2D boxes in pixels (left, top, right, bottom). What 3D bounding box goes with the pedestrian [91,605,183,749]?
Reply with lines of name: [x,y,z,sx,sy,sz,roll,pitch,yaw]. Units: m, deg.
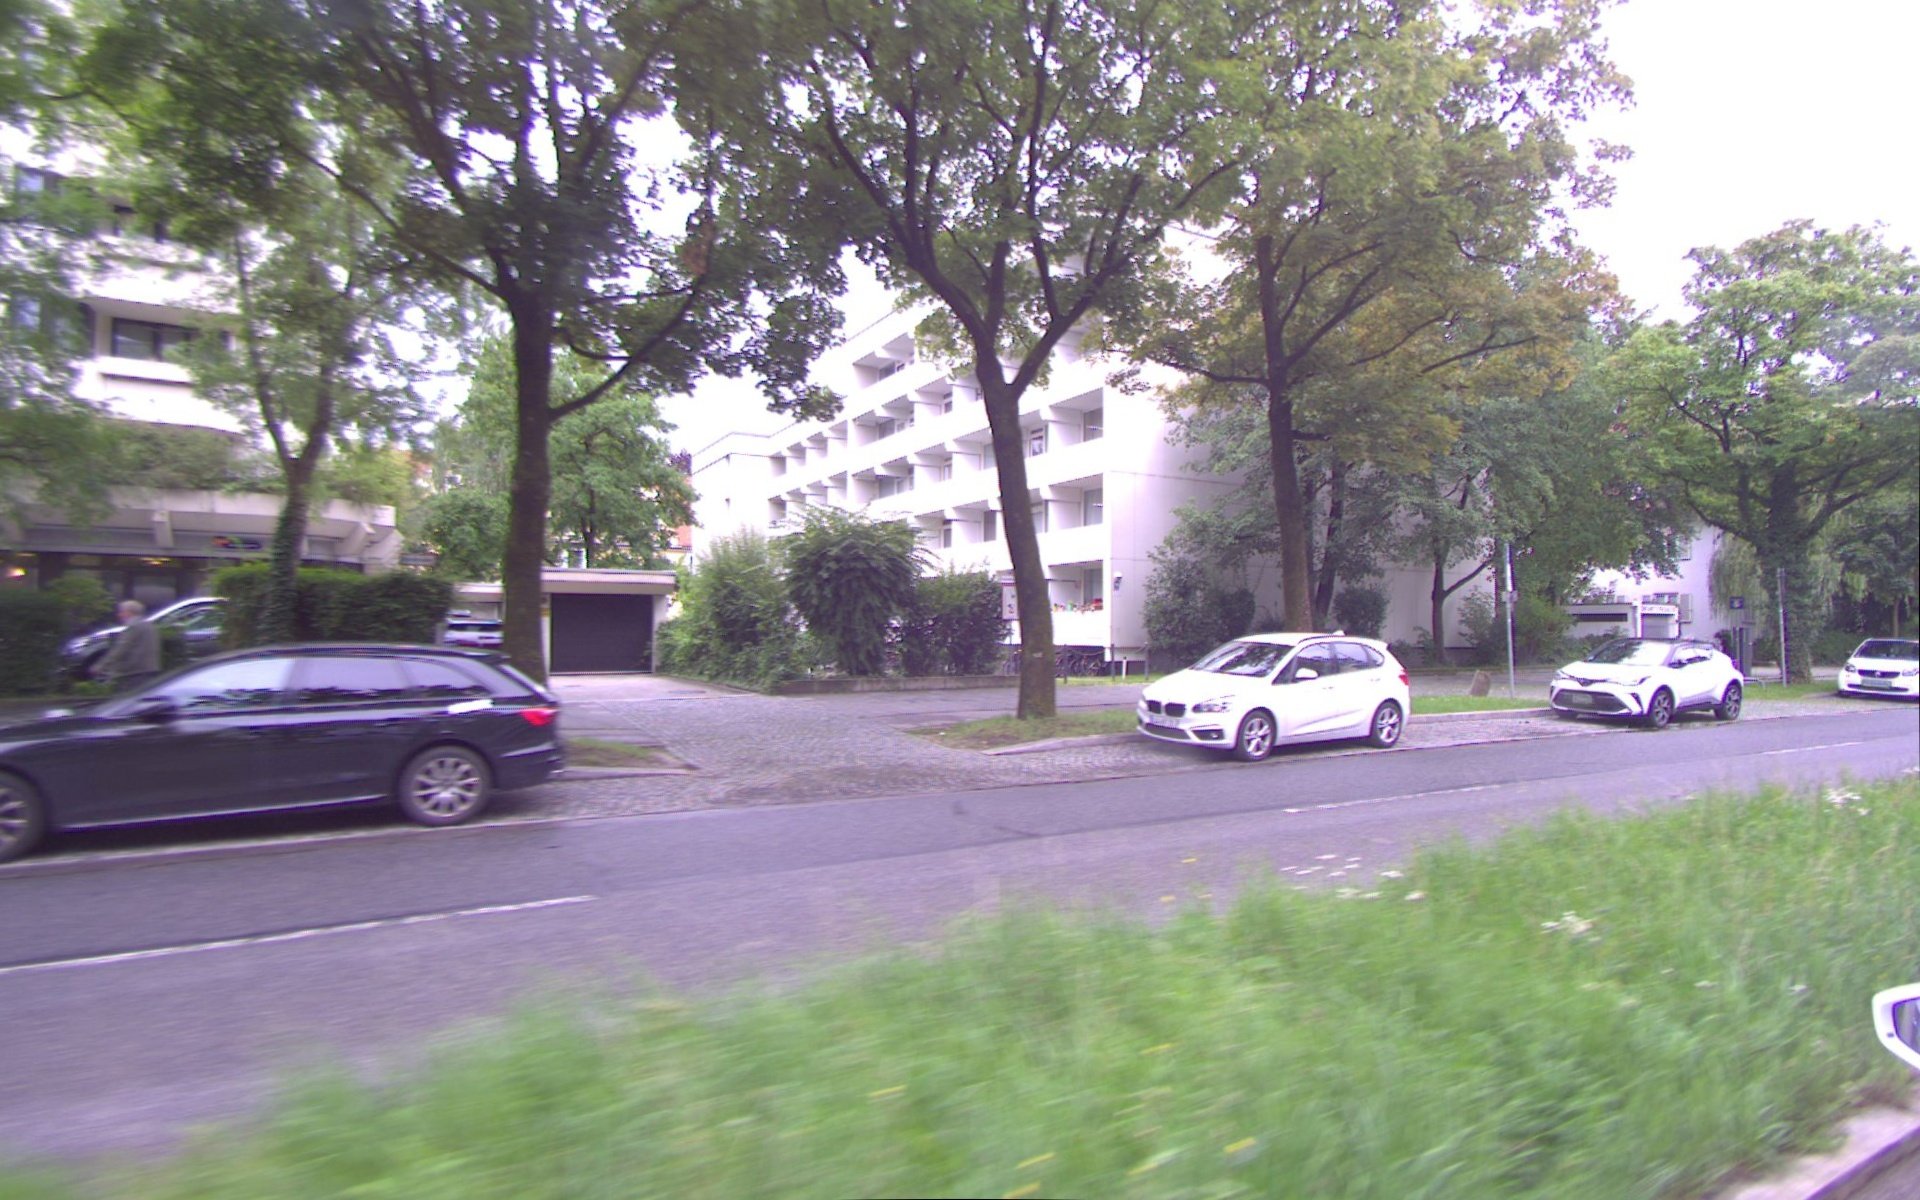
pedestrian: [-9.981,0.914,12.207,0.599,1.678,0.847,1,-2,-21]

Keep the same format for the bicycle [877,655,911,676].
bicycle: [-2.897,2.885,44.180,1.433,0.912,0.456,1,-2,-31]

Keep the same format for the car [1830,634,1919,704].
car: [23.974,1.713,25.757,3.045,1.586,1.681,1,1,-32]

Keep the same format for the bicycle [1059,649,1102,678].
bicycle: [3.950,2.082,32.902,1.433,0.912,0.456,1,-2,-31]

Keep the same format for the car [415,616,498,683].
car: [-13.328,1.255,26.503,1.766,1.612,3.959,1,-2,-29]

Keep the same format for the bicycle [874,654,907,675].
bicycle: [-3.086,2.883,44.749,1.433,0.912,0.456,1,-2,-31]

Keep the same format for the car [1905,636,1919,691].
car: [28.703,1.824,28.458,4.165,1.495,1.666,1,1,-30]

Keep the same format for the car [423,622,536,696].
car: [-10.454,1.203,21.713,1.841,1.436,3.957,1,-2,-31]

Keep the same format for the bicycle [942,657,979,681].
bicycle: [0.018,2.674,39.186,1.433,0.912,0.456,1,-2,-31]

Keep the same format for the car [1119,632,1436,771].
car: [4.521,1.292,14.107,4.438,1.616,1.748,1,0,-31]

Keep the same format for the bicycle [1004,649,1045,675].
bicycle: [2.267,2.167,35.243,1.433,0.912,0.456,1,-2,-31]

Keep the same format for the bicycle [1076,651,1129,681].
bicycle: [4.548,2.091,31.974,1.745,0.912,0.475,1,-2,-31]

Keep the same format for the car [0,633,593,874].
car: [-5.675,1.068,8.101,4.888,1.533,1.752,1,0,-30]

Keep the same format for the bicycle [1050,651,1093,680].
bicycle: [3.712,2.167,33.362,1.433,0.912,0.456,1,-2,-31]

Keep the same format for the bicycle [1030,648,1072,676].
bicycle: [3.102,2.097,34.087,1.433,0.912,0.456,1,-2,-31]

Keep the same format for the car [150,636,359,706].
car: [-13.229,1.295,19.045,3.089,1.215,1.449,1,-2,-30]

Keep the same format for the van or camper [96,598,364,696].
van or camper: [-15.254,0.968,21.345,4.378,1.896,1.848,1,-2,-30]

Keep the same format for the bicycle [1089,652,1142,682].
bicycle: [4.886,2.095,31.583,1.745,0.912,0.475,1,-2,-31]

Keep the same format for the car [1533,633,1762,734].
car: [13.098,1.493,19.086,4.437,1.631,1.824,1,0,-30]

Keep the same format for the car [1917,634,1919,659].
car: [58.425,2.695,58.500,1.653,1.481,3.614,1,-2,-32]

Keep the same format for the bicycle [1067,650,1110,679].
bicycle: [4.155,2.082,32.453,1.433,0.912,0.456,1,-2,-31]

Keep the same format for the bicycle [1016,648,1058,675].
bicycle: [2.652,2.104,34.610,1.433,0.912,0.456,1,-2,-31]
